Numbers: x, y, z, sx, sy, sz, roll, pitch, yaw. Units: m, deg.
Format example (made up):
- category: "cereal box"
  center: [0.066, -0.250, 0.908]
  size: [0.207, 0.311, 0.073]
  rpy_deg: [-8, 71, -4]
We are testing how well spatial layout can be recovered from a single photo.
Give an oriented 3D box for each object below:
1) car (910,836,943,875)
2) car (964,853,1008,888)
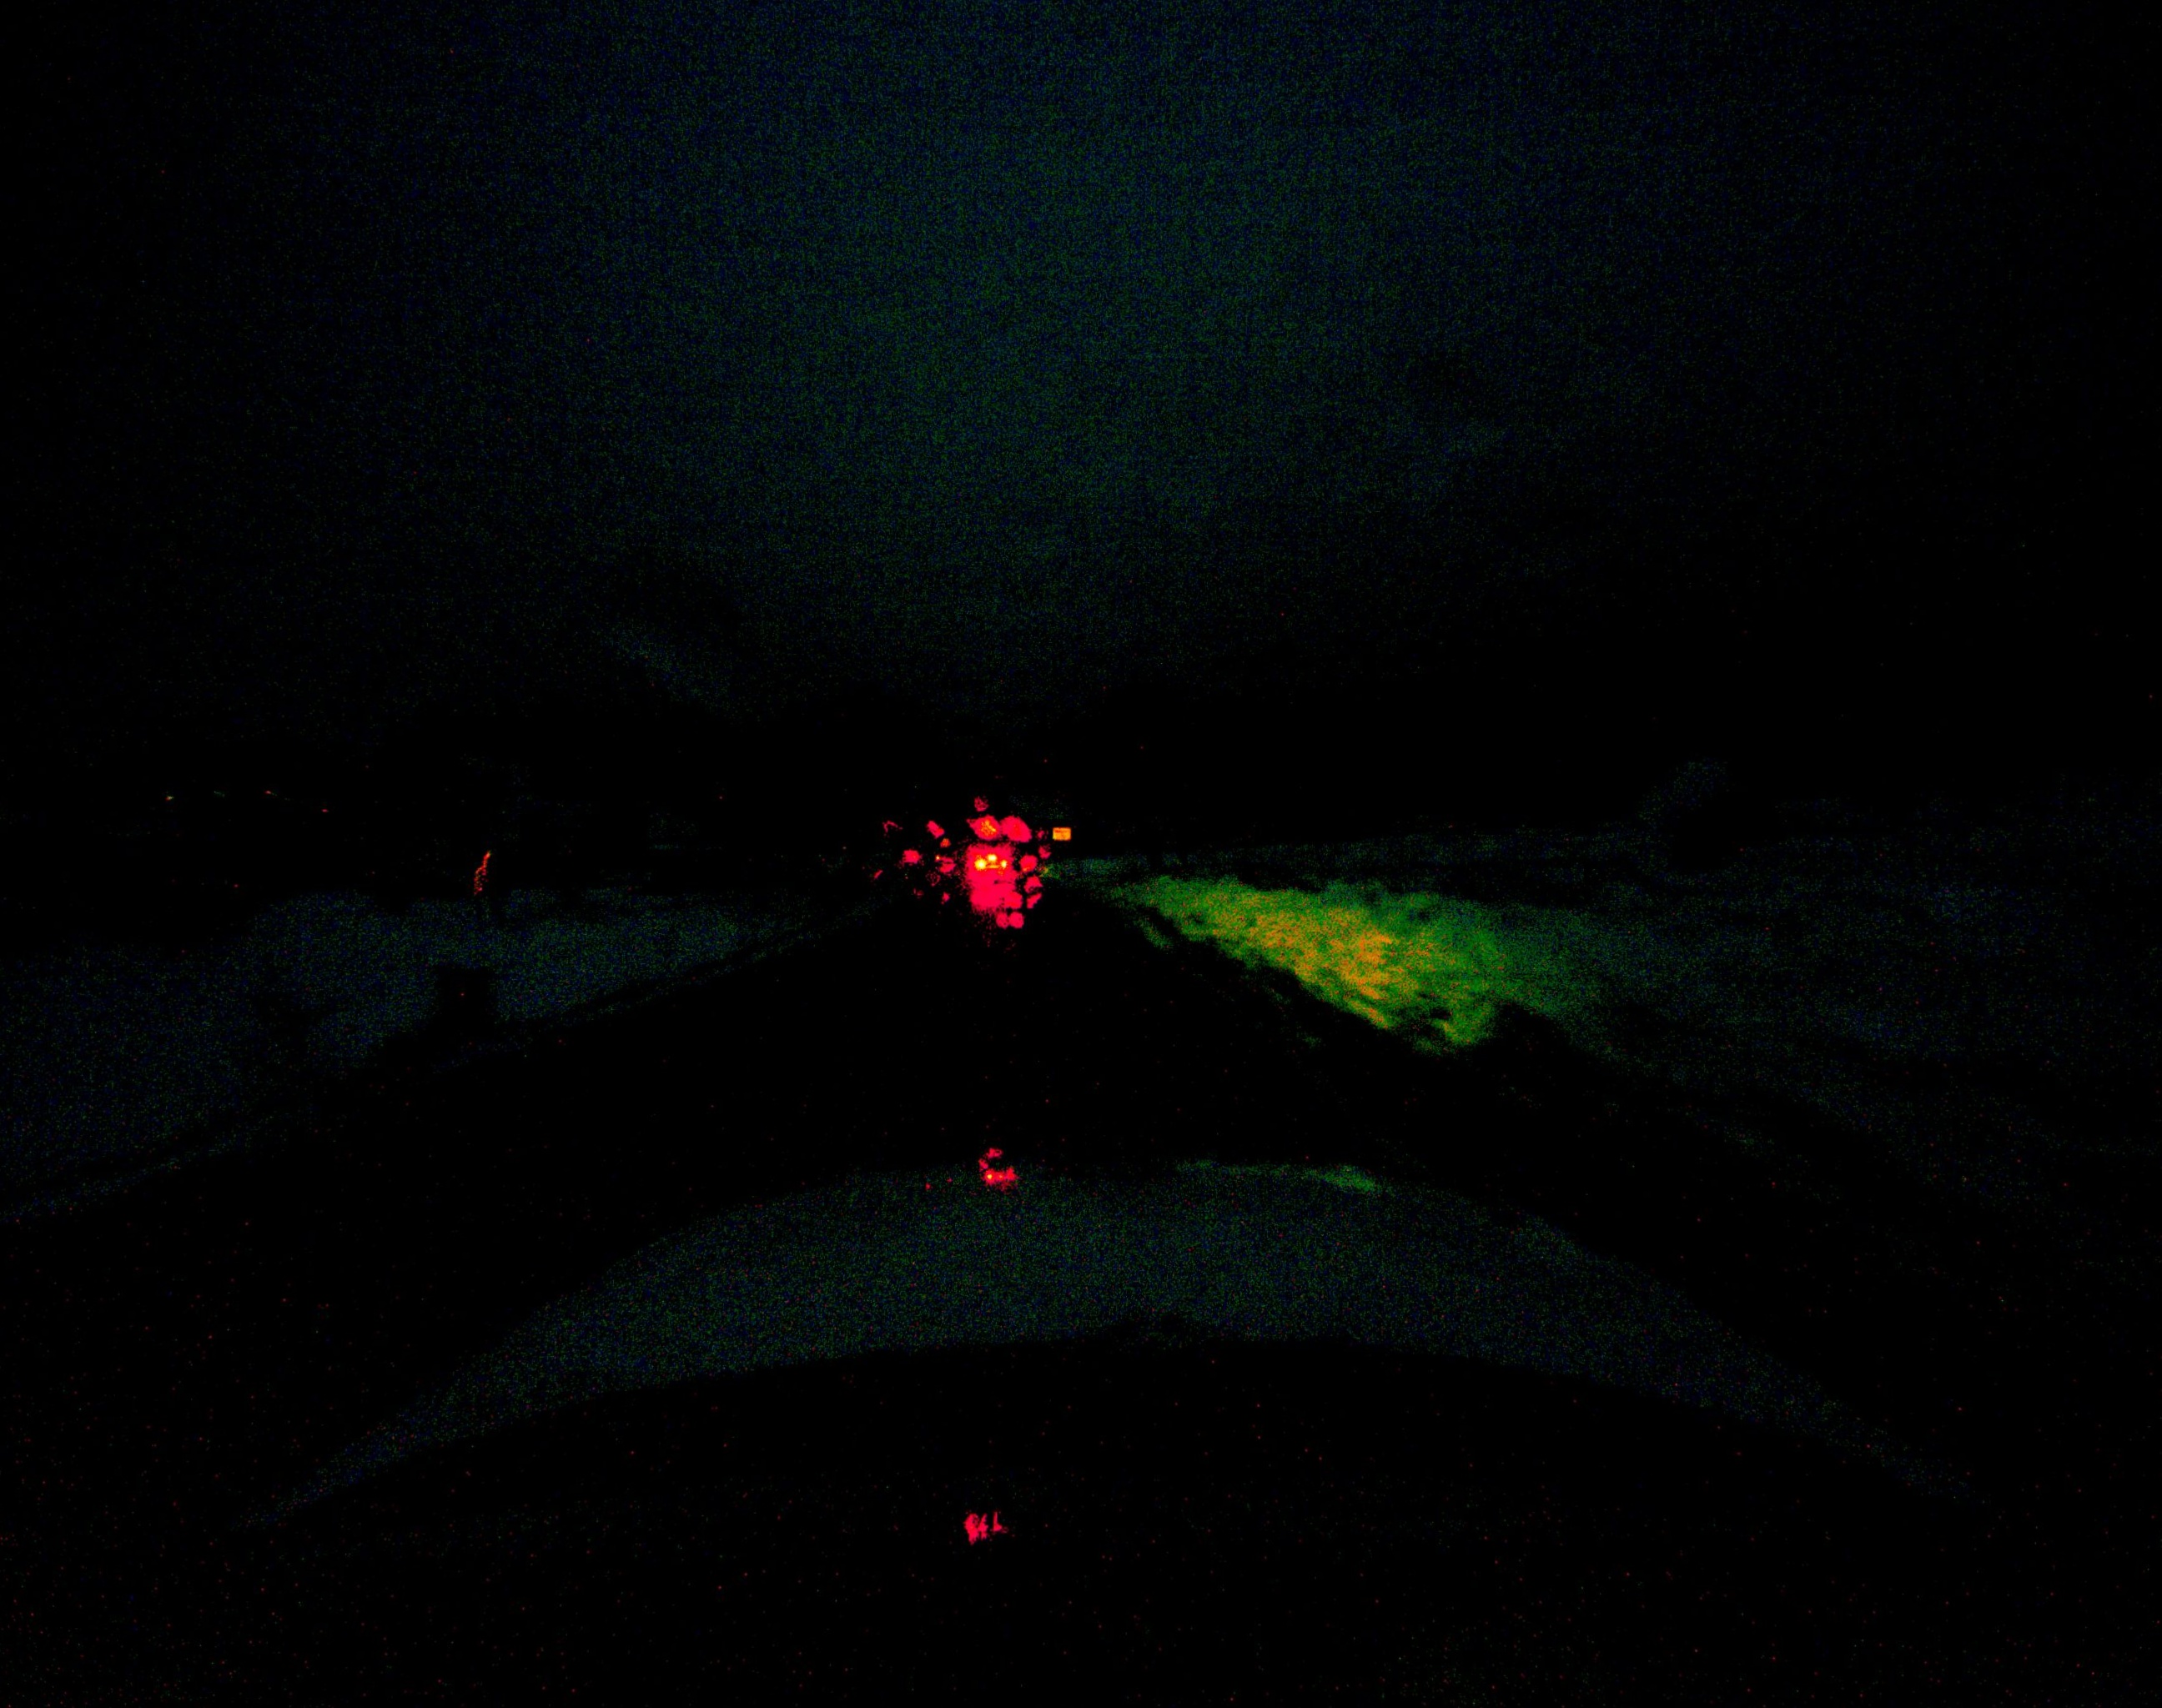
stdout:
- category: "car"
  center: [-12.657, 0.186, 66.723]
  size: [2.436, 3.019, 5.305]
  rpy_deg: [-1, -1, -11]
- category: "car"
  center: [-5.548, 0.928, 47.034]
  size: [2.274, 1.840, 4.990]
  rpy_deg: [-2, 0, -10]
